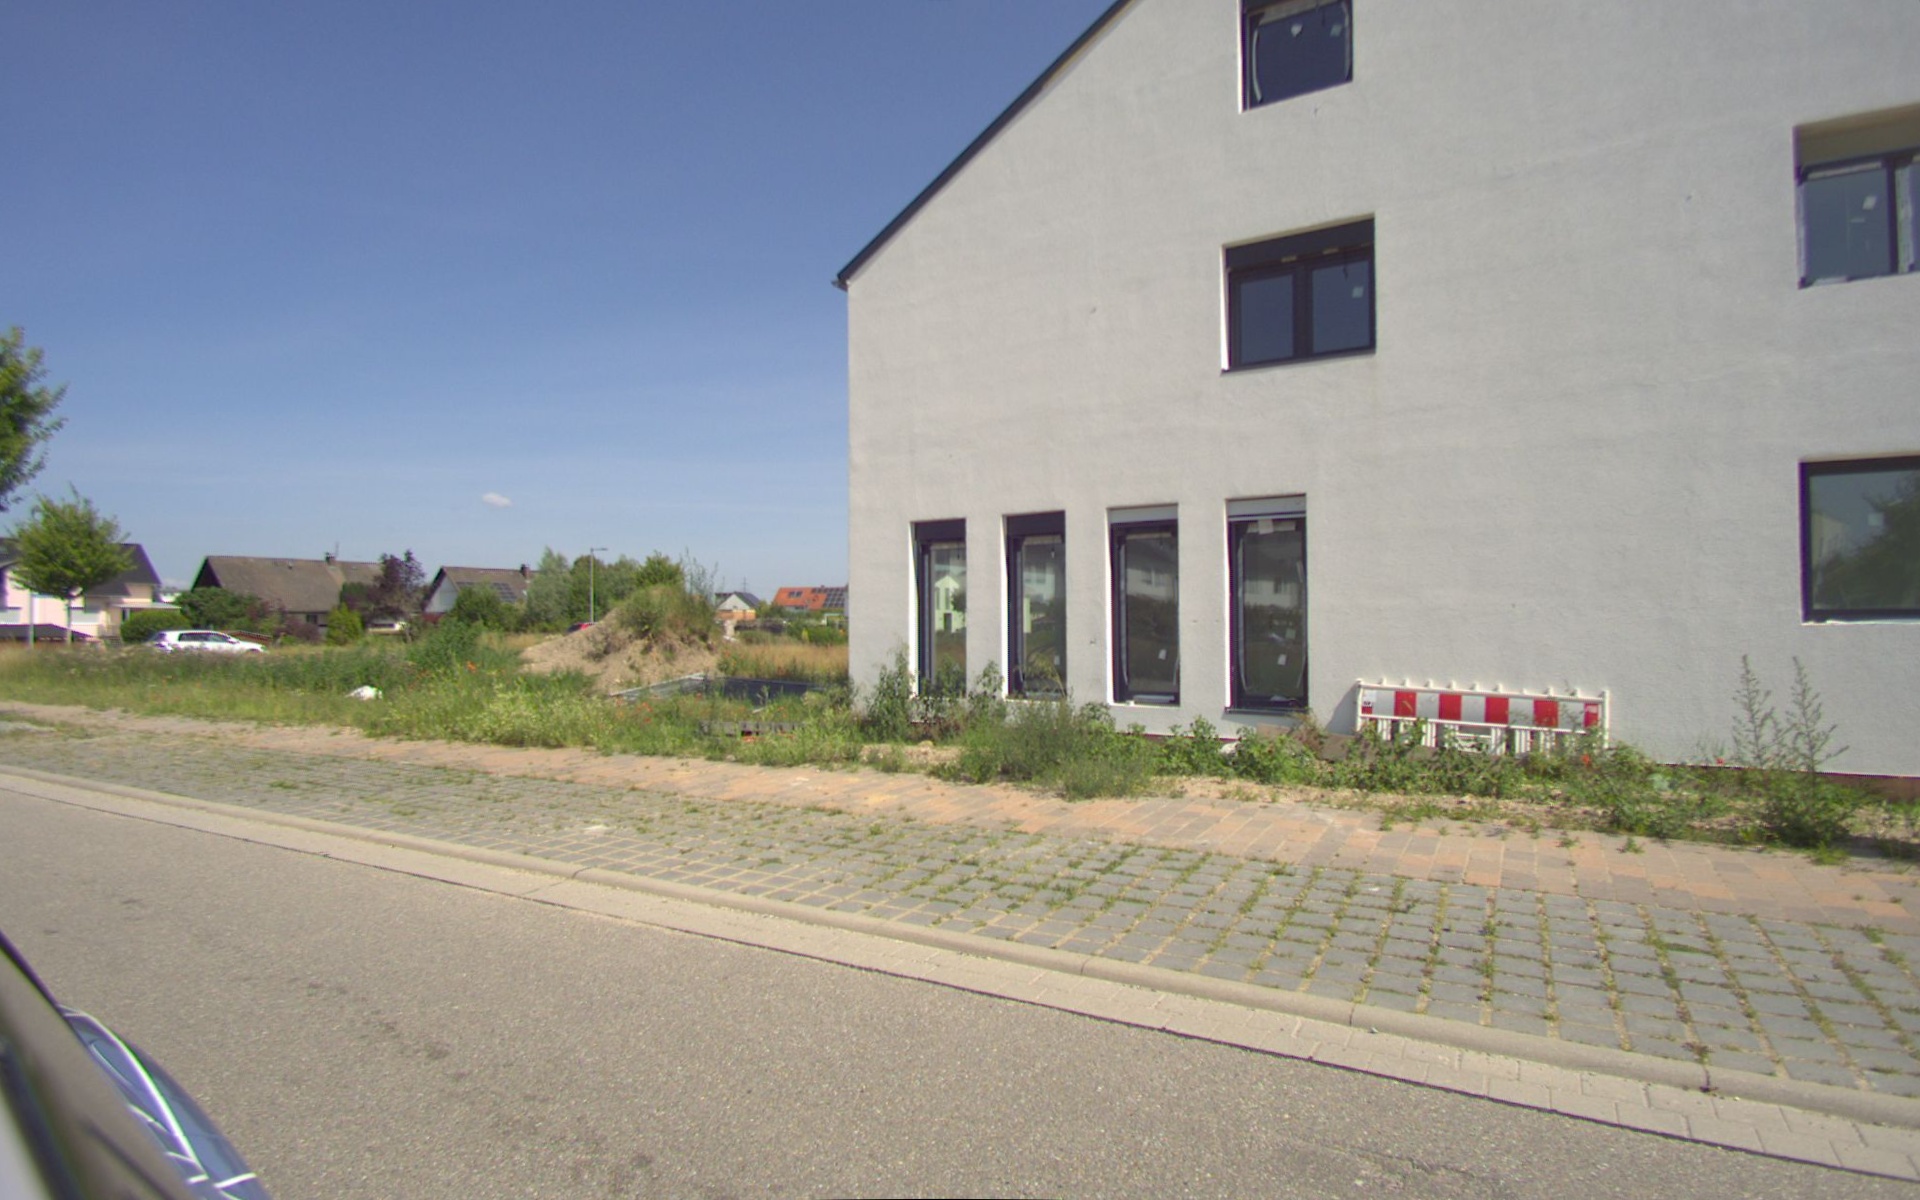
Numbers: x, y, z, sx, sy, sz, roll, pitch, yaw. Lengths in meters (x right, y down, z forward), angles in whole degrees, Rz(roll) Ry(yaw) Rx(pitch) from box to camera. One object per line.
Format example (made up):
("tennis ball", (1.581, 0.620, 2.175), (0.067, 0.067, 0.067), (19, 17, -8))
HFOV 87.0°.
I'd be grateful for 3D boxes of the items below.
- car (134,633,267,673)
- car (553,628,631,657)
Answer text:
("car", (-30.848, 2.115, 41.194), (1.805, 1.514, 3.952), (-2, -2, 35))
("car", (-20.800, 2.383, 57.322), (1.803, 1.628, 3.957), (-1, -2, 31))
